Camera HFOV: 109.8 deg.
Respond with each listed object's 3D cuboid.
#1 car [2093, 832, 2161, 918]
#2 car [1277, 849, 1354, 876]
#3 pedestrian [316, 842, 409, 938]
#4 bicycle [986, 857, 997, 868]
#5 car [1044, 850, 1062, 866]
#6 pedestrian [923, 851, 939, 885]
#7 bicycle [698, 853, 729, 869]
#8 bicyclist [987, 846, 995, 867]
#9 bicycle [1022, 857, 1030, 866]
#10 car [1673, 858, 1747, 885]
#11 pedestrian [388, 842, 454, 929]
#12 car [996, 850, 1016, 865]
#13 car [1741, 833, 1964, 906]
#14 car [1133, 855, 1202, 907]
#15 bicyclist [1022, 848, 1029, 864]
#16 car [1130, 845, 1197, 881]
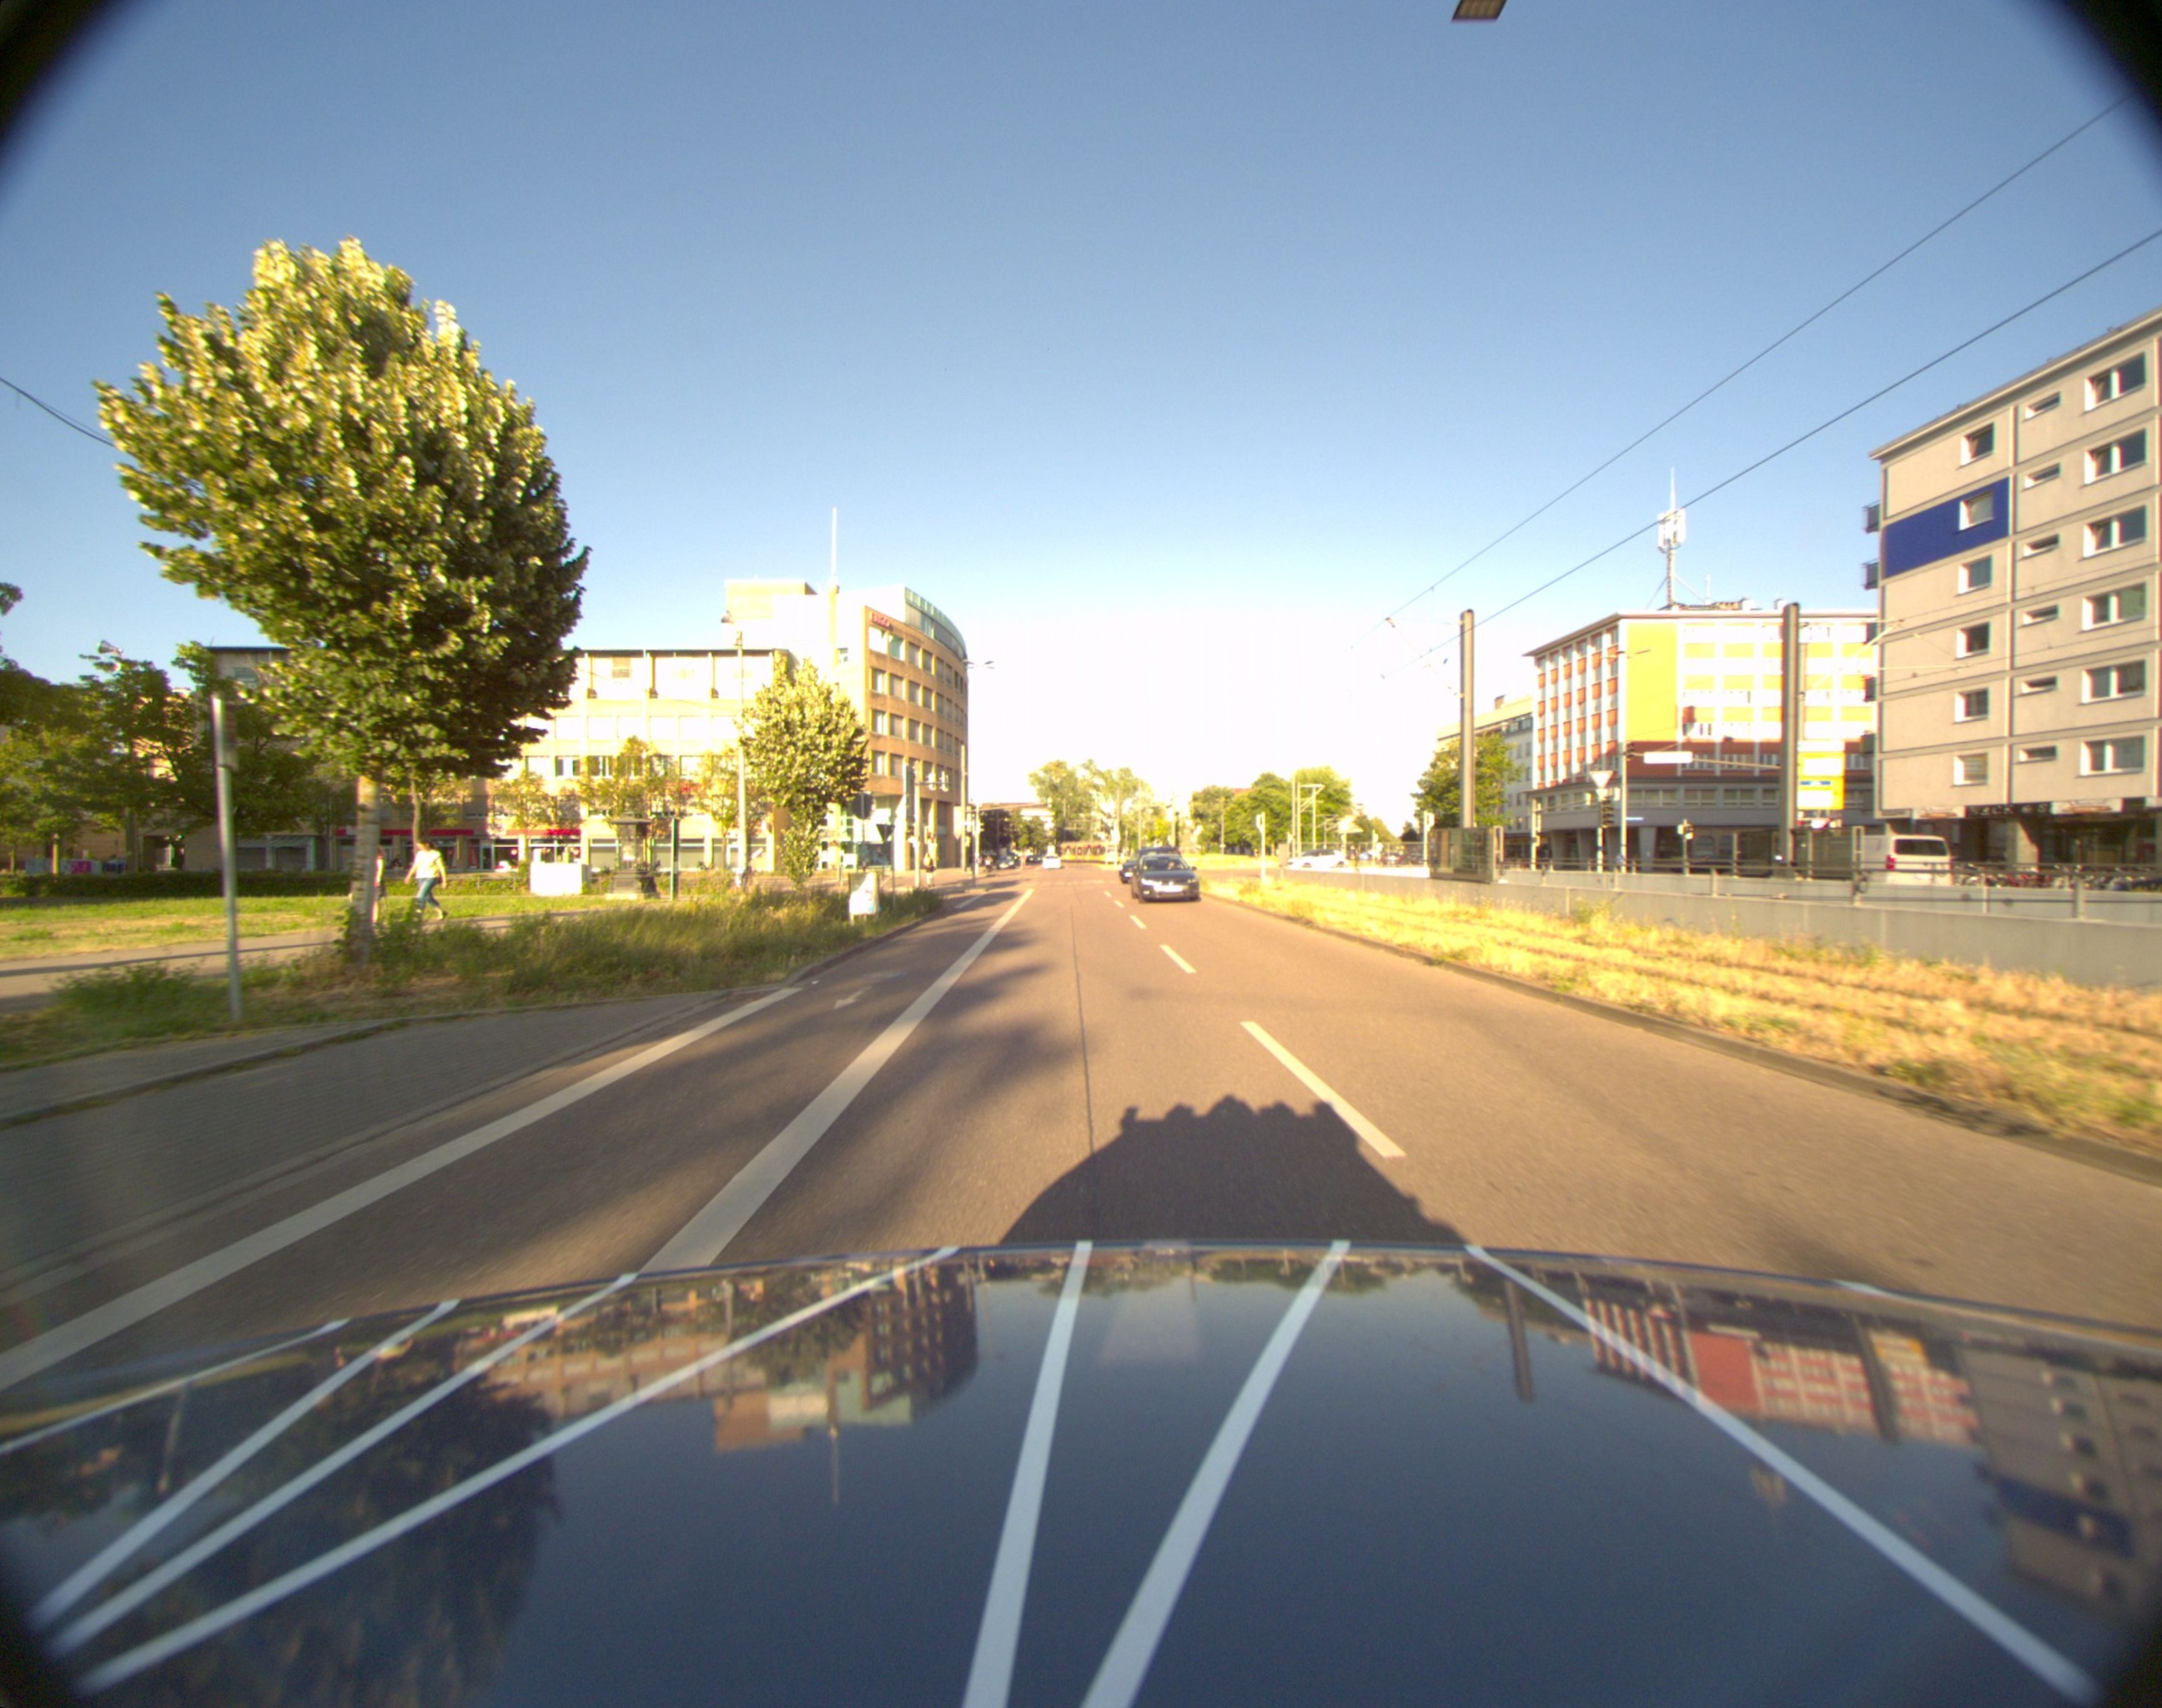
[{"bbox_3d":[23.445,0.431,14.410,1.998,1.787,4.894,0,0,1],"label":"car"},{"bbox_3d":[14.407,0.512,46.656,4.283,1.528,1.831,-1,1,-22],"label":"car"},{"bbox_3d":[-13.015,0.633,13.790,0.740,1.640,0.916,3,0,3],"label":"pedestrian"},{"bbox_3d":[-8.229,0.778,70.017,0.700,1.044,1.979,-2,0,2],"label":"bicycle"},{"bbox_3d":[-2.916,0.412,78.812,1.770,1.464,4.013,-2,1,-1],"label":"car"},{"bbox_3d":[-7.702,0.709,38.957,0.651,1.714,0.715,0,1,2],"label":"pedestrian"},{"bbox_3d":[-30.739,0.621,63.548,0.862,1.230,2.091,-1,2,42],"label":"bicycle"},{"bbox_3d":[-8.246,0.227,69.935,0.578,1.927,0.697,-2,1,2],"label":"bicyclist"},{"bbox_3d":[-5.520,0.740,75.863,0.608,0.923,1.777,0,0,2],"label":"bicycle"},{"bbox_3d":[46.728,1.255,56.483,3.997,1.770,1.742,-2,1,0],"label":"car"},{"bbox_3d":[-13.253,0.622,15.278,0.599,1.679,0.782,2,0,3],"label":"pedestrian"},{"bbox_3d":[-8.048,0.395,82.154,1.770,1.464,4.013,-2,1,-1],"label":"car"},{"bbox_3d":[23.586,0.408,23.572,1.999,2.002,4.773,0,1,-1],"label":"car"},{"bbox_3d":[2.605,0.762,23.788,1.769,1.418,4.245,-1,0,2],"label":"car"},{"bbox_3d":[-5.531,0.235,75.865,0.552,1.600,0.832,0,1,2],"label":"bicyclist"},{"bbox_3d":[4.292,0.434,38.904,1.766,1.722,4.155,0,1,32],"label":"car"}]
